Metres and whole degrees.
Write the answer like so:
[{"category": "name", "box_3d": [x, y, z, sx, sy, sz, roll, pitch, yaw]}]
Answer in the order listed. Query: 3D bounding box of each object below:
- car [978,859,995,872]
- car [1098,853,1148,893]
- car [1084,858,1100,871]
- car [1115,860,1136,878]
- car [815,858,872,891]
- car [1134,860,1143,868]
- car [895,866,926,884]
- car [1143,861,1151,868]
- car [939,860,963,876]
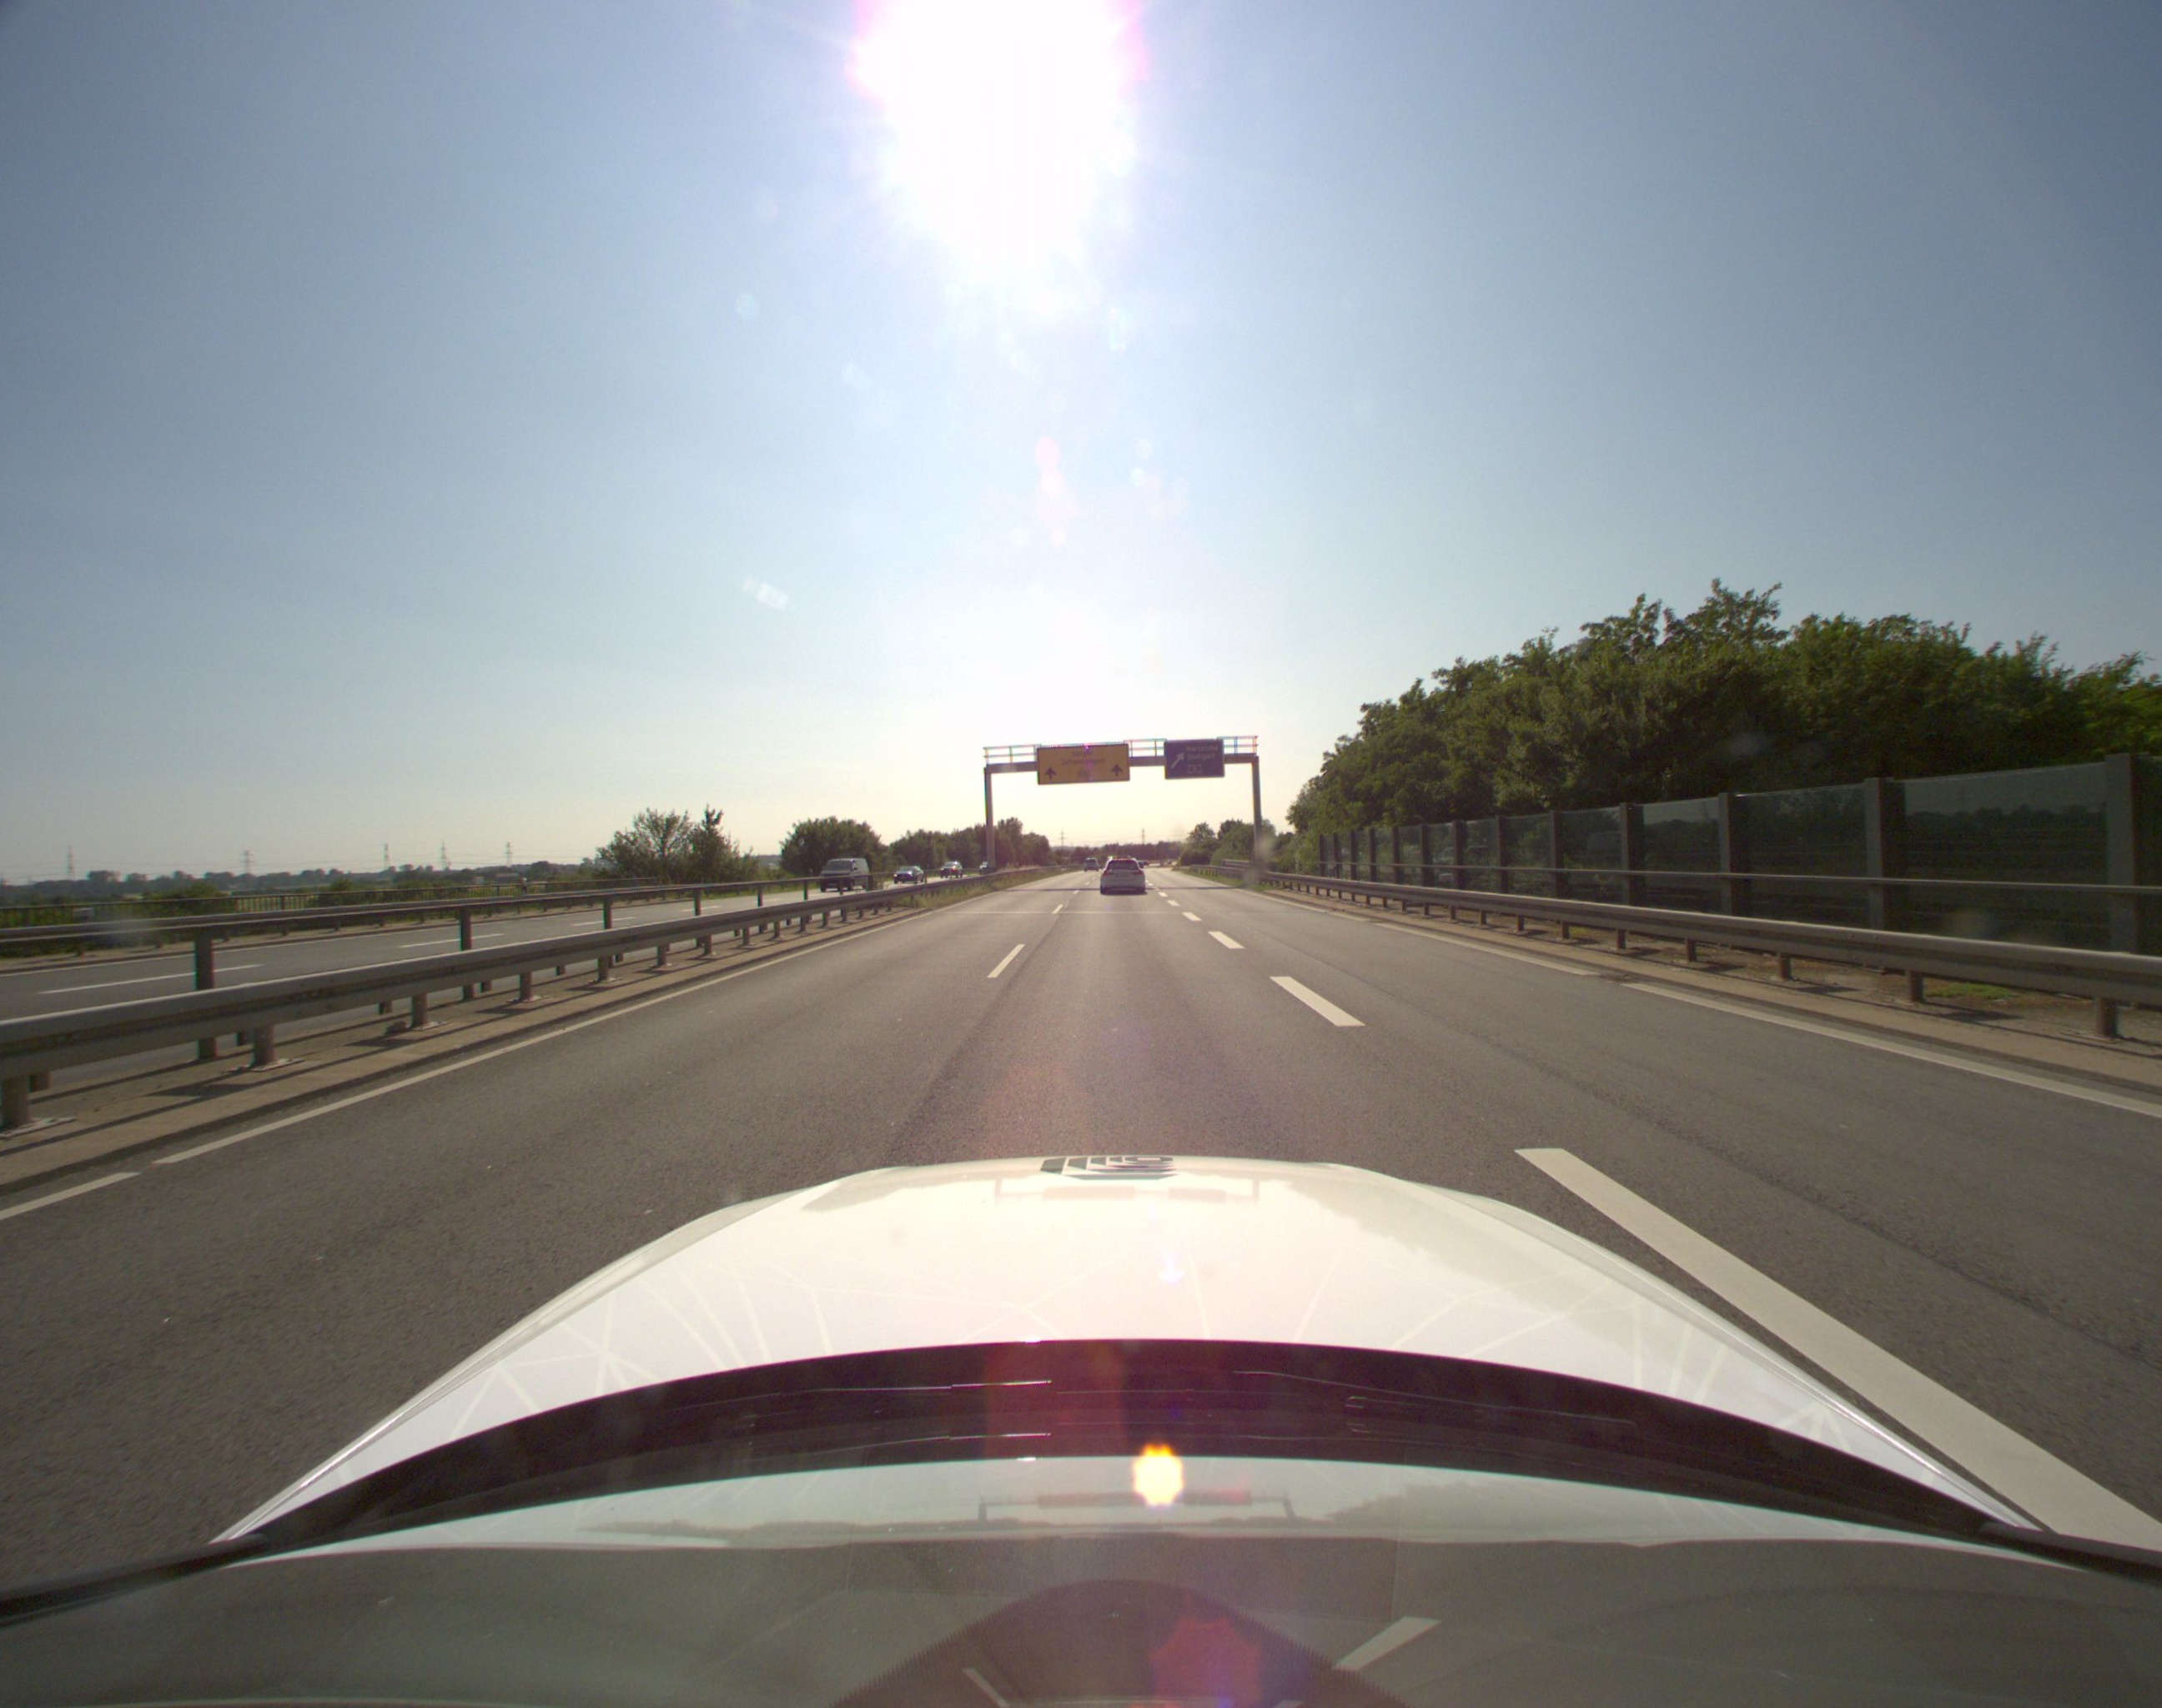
[{"category": "car", "box_3d": [-12.802, 1.569, 110.723, 1.896, 1.620, 4.627, -1, 0, -1]}, {"category": "car", "box_3d": [1.726, 0.767, 34.802, 1.952, 1.601, 4.107, -1, 0, 0]}, {"category": "car", "box_3d": [1.272, 1.273, 96.121, 1.787, 1.503, 4.043, -1, -1, 1]}, {"category": "car", "box_3d": [3.945, 1.303, 73.176, 1.786, 1.543, 3.673, -1, -1, 2]}, {"category": "car", "box_3d": [-14.443, 1.206, 49.724, 1.986, 1.906, 4.419, -2, 0, 2]}, {"category": "car", "box_3d": [13.234, 2.418, 187.935, 1.834, 1.803, 4.002, -1, -1, 2]}, {"category": "car", "box_3d": [-13.447, 1.607, 64.383, 1.561, 1.270, 3.715, -1, 0, 0]}, {"category": "car", "box_3d": [17.362, 2.679, 214.017, 1.833, 1.698, 4.003, -1, -1, 3]}, {"category": "car", "box_3d": [-13.411, 1.426, 84.007, 1.727, 1.617, 4.002, -1, 0, 0]}]
